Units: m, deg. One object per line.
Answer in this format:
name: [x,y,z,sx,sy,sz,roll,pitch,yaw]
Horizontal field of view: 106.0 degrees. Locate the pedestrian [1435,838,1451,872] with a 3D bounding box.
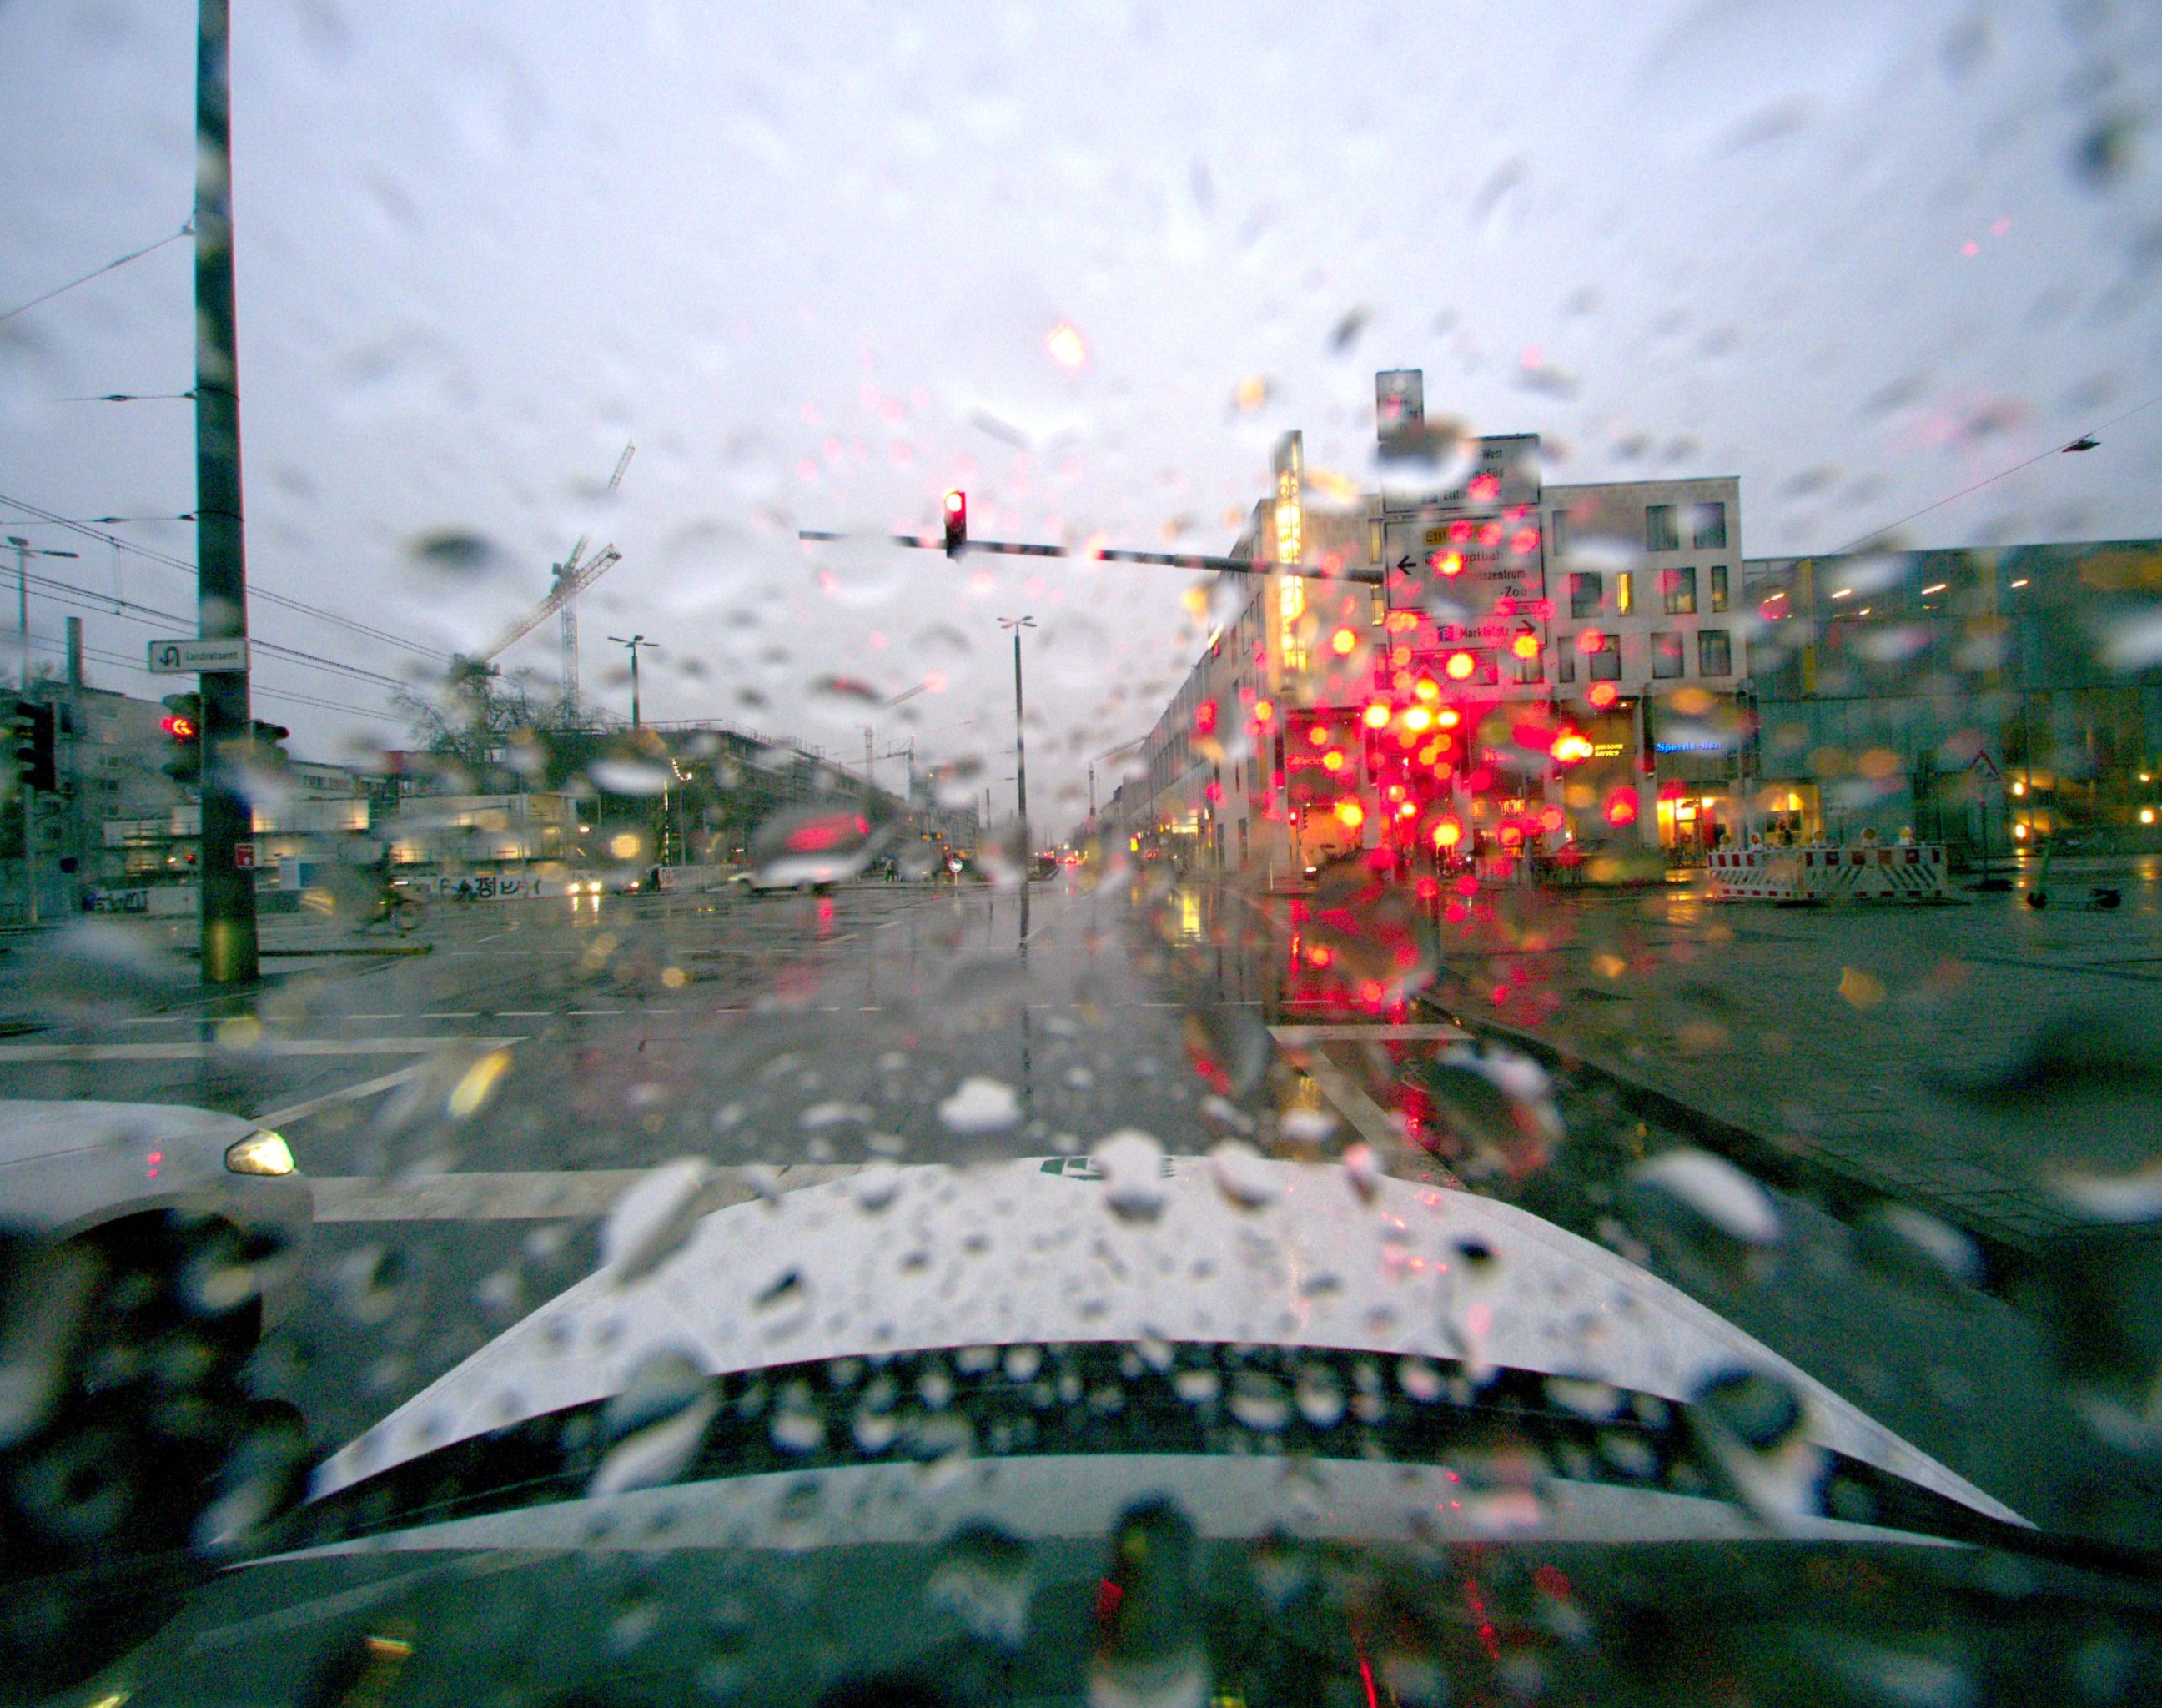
pedestrian: [18.296,0.053,41.141,0.530,1.685,0.552,-3,-1,39]

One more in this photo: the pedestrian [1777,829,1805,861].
pedestrian: [36.053,-0.456,41.372,0.791,1.631,0.709,-1,-1,1]

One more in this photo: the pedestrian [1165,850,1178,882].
pedestrian: [5.250,0.695,47.110,0.631,1.772,0.484,-2,-1,0]

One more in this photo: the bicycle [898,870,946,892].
bicycle: [-7.492,1.279,38.303,2.119,0.991,0.542,0,-3,2]

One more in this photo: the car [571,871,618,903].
car: [-33.371,2.194,55.955,1.760,2.013,3.977,-2,0,-17]

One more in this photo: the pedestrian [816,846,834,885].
pedestrian: [-13.903,0.606,44.248,0.691,2.087,0.606,-2,-1,-39]

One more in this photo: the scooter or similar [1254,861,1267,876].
scooter or similar: [11.262,0.915,51.159,0.738,0.916,0.401,-2,-1,3]

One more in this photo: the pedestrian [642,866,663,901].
pedestrian: [-24.863,1.705,47.246,0.792,2.013,0.745,-2,-1,-9]

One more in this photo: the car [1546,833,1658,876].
car: [21.615,0.031,33.852,3.558,1.582,1.676,-2,-1,-1]

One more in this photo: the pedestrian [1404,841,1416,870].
pedestrian: [19.946,0.088,49.308,0.510,1.760,0.374,-2,-1,1]

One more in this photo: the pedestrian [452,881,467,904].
pedestrian: [-43.808,2.719,57.428,0.800,1.529,0.639,-2,-1,-38]

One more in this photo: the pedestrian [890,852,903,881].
pedestrian: [-11.531,0.777,50.905,0.617,1.746,0.612,-2,-1,-4]

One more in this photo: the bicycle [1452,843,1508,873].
bicycle: [15.376,0.160,31.436,1.831,1.093,0.620,-2,-1,16]

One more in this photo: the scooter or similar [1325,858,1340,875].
scooter or similar: [14.683,0.738,47.597,0.738,0.993,0.400,-2,-1,2]

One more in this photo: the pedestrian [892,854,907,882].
pedestrian: [-10.602,0.823,47.602,0.704,1.619,0.613,-2,-1,-1]

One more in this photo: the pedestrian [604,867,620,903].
pedestrian: [-26.858,1.787,46.653,0.507,2.014,0.638,-2,-1,-9]

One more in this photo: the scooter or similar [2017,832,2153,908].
scooter or similar: [15.858,0.246,12.906,0.603,1.130,1.236,-2,0,2]

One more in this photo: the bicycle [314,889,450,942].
bicycle: [-15.712,1.371,18.340,2.369,1.033,0.616,-2,-1,-6]

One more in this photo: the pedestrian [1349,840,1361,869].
pedestrian: [16.745,0.017,49.788,0.530,1.718,0.505,-3,-1,39]

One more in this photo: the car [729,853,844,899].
car: [-12.666,0.921,35.163,4.287,1.761,1.707,-2,0,1]

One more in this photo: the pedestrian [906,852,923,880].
pedestrian: [-9.786,0.710,47.911,0.806,1.607,0.746,-2,-1,1]

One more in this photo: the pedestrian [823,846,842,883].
pedestrian: [-13.779,0.590,45.213,0.781,2.013,0.606,-2,-1,-37]

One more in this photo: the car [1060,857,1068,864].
car: [-4.584,1.785,223.939,1.881,1.783,3.715,-1,-1,2]

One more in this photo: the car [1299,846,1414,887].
car: [11.828,0.527,35.208,4.506,1.574,1.802,-2,0,11]

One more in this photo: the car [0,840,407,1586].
car: [-3.194,0.760,0.185,1.903,1.520,4.923,-2,0,0]

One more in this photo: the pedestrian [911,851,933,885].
pedestrian: [-7.485,0.676,38.385,0.811,1.571,0.536,1,-6,3]

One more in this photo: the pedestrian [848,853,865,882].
pedestrian: [-12.838,0.762,46.633,0.704,1.619,0.681,-2,-1,3]

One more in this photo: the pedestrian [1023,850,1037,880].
pedestrian: [-3.021,0.654,47.912,0.700,1.760,0.652,-2,-1,1]

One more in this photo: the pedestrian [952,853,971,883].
pedestrian: [-6.900,0.827,47.111,0.836,1.688,0.680,-2,-1,20]

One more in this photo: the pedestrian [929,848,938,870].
pedestrian: [-11.895,0.413,65.805,0.660,1.746,0.733,-2,-1,-9]

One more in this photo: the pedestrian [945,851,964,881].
pedestrian: [-7.225,0.681,46.416,0.823,1.679,0.623,-2,-1,24]

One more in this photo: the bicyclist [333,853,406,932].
bicyclist: [-16.007,0.849,18.334,1.031,1.697,0.616,-2,-1,-5]

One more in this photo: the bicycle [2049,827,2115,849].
bicycle: [48.577,-0.767,39.549,0.613,1.033,2.138,-2,0,3]

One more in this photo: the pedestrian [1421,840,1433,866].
pedestrian: [23.423,-0.085,55.139,0.530,1.718,0.505,-3,-1,39]

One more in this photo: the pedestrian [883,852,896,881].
pedestrian: [-11.591,0.763,49.291,0.617,1.746,0.613,-2,-1,-1]

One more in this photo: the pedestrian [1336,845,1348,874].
pedestrian: [16.035,0.338,50.023,0.530,1.718,0.505,-3,-1,39]

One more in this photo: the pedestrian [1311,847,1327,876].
pedestrian: [13.929,0.428,47.616,0.738,1.667,0.400,-2,-1,2]

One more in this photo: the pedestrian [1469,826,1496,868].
pedestrian: [15.482,-0.264,31.393,0.775,1.595,0.616,-2,-1,17]

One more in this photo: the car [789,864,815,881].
car: [-35.753,2.358,104.404,1.988,2.013,3.997,-2,0,-2]

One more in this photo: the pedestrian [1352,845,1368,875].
pedestrian: [16.624,0.362,48.583,0.700,1.760,0.668,-2,-1,1]
